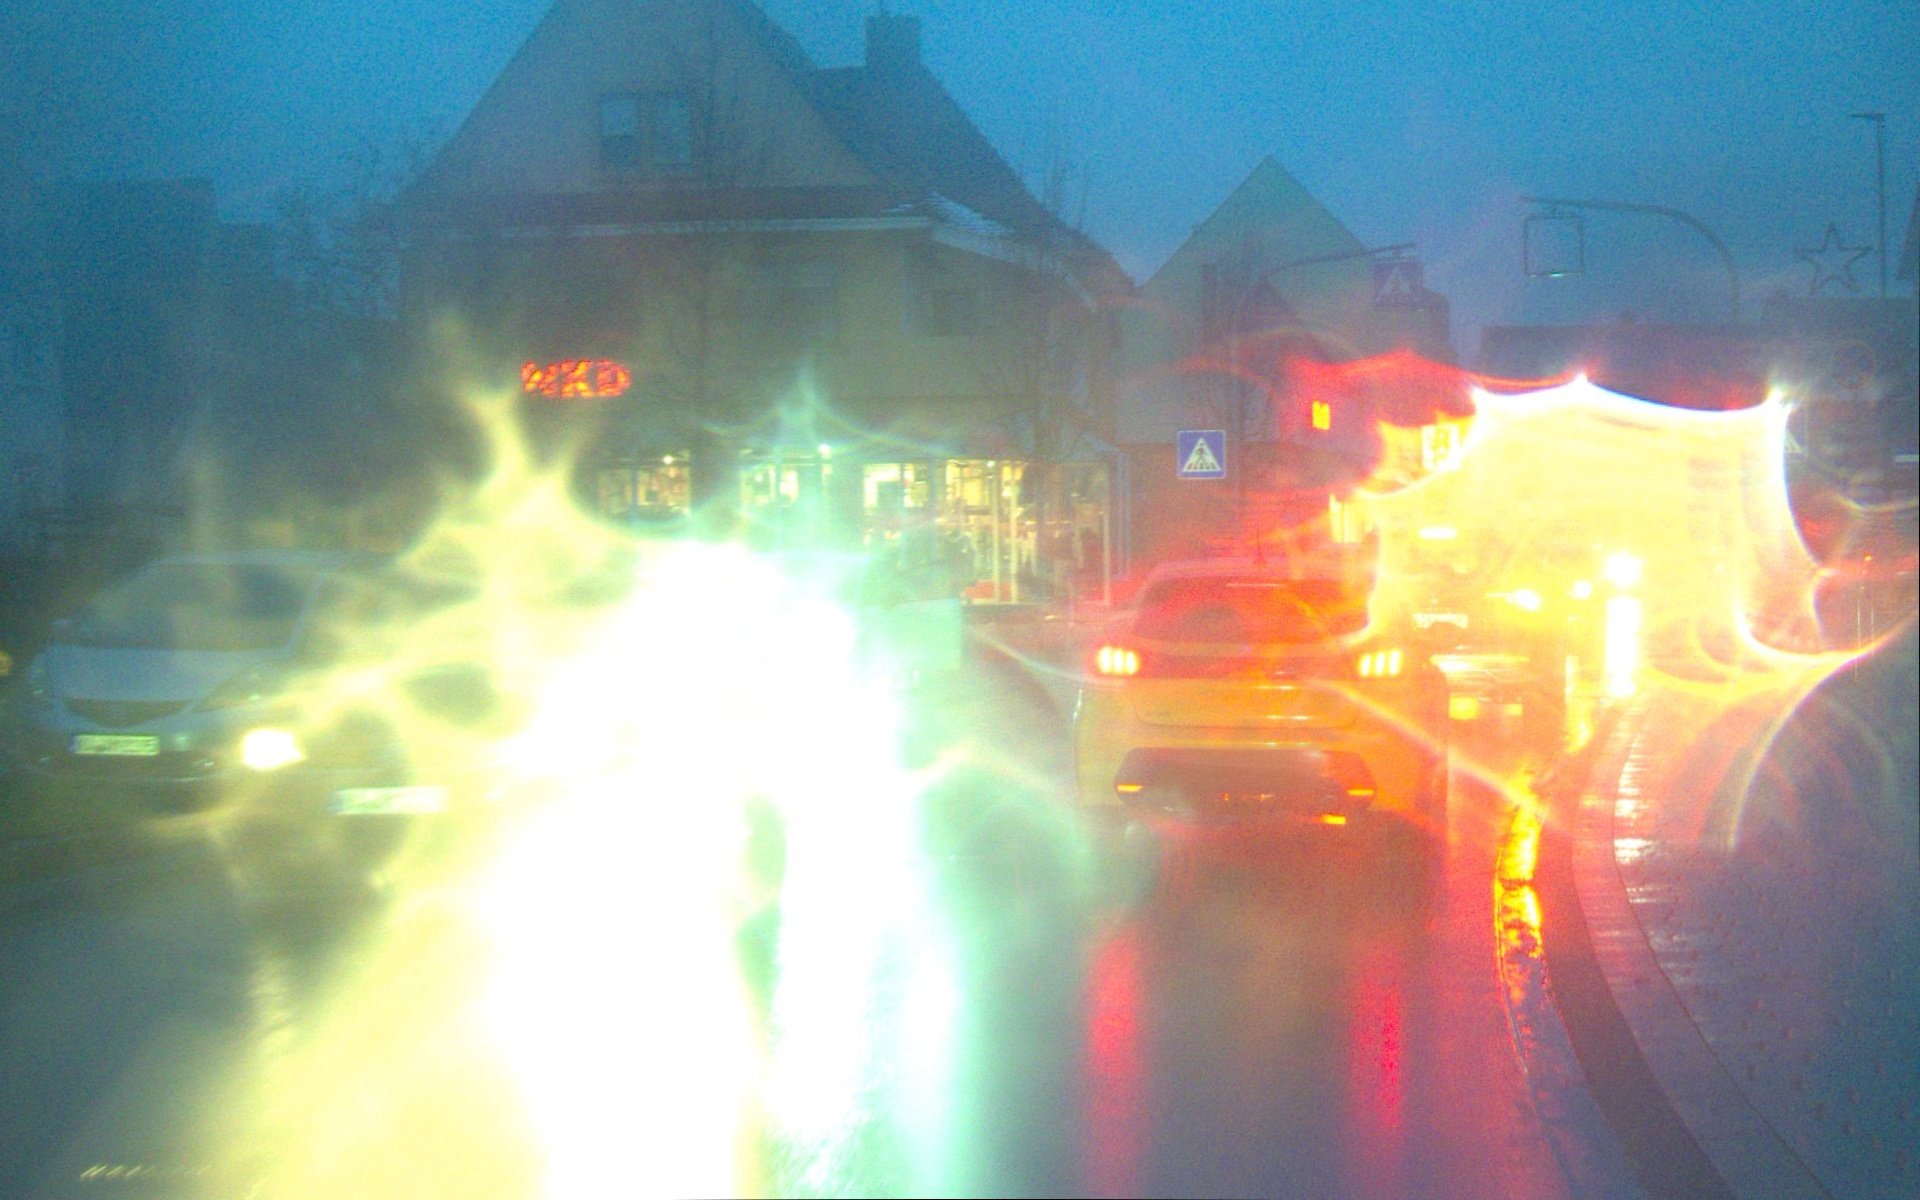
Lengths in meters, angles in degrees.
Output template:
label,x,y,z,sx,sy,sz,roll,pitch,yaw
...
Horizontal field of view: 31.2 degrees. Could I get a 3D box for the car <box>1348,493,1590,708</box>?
label,x,y,z,sx,sy,sz,roll,pitch,yaw
car,4.291,-0.020,28.557,1.798,1.656,3.998,0,1,11

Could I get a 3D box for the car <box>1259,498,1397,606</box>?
label,x,y,z,sx,sy,sz,roll,pitch,yaw
car,7.108,-0.922,66.059,1.995,2.007,4.358,0,1,15

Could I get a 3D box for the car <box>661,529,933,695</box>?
label,x,y,z,sx,sy,sz,roll,pitch,yaw
car,-1.555,0.077,34.185,1.671,1.511,3.998,1,1,13

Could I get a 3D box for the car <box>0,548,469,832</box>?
label,x,y,z,sx,sy,sz,roll,pitch,yaw
car,-4.347,0.455,20.576,1.693,1.511,3.771,1,1,10

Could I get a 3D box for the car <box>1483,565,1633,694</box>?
label,x,y,z,sx,sy,sz,roll,pitch,yaw
car,7.125,0.318,40.826,1.650,1.437,3.865,-1,1,11

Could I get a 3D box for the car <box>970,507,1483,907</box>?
label,x,y,z,sx,sy,sz,roll,pitch,yaw
car,1.544,0.432,17.920,1.995,1.789,4.646,-1,1,13

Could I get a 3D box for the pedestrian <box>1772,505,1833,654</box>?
label,x,y,z,sx,sy,sz,roll,pitch,yaw
pedestrian,10.733,-0.263,43.782,0.664,1.881,0.823,1,0,20

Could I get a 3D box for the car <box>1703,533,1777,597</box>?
label,x,y,z,sx,sy,sz,roll,pitch,yaw
car,18.112,-0.826,79.778,1.535,1.241,3.645,-5,1,13

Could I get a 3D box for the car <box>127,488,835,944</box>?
label,x,y,z,sx,sy,sz,roll,pitch,yaw
car,-2.063,0.426,16.453,2.141,1.854,4.741,0,1,8

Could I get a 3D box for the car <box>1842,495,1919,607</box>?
label,x,y,z,sx,sy,sz,roll,pitch,yaw
car,17.568,-0.947,64.500,1.642,2.007,3.998,-2,1,11

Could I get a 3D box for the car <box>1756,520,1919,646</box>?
label,x,y,z,sx,sy,sz,roll,pitch,yaw
car,14.891,-0.278,55.861,3.700,2.007,1.688,1,0,17
